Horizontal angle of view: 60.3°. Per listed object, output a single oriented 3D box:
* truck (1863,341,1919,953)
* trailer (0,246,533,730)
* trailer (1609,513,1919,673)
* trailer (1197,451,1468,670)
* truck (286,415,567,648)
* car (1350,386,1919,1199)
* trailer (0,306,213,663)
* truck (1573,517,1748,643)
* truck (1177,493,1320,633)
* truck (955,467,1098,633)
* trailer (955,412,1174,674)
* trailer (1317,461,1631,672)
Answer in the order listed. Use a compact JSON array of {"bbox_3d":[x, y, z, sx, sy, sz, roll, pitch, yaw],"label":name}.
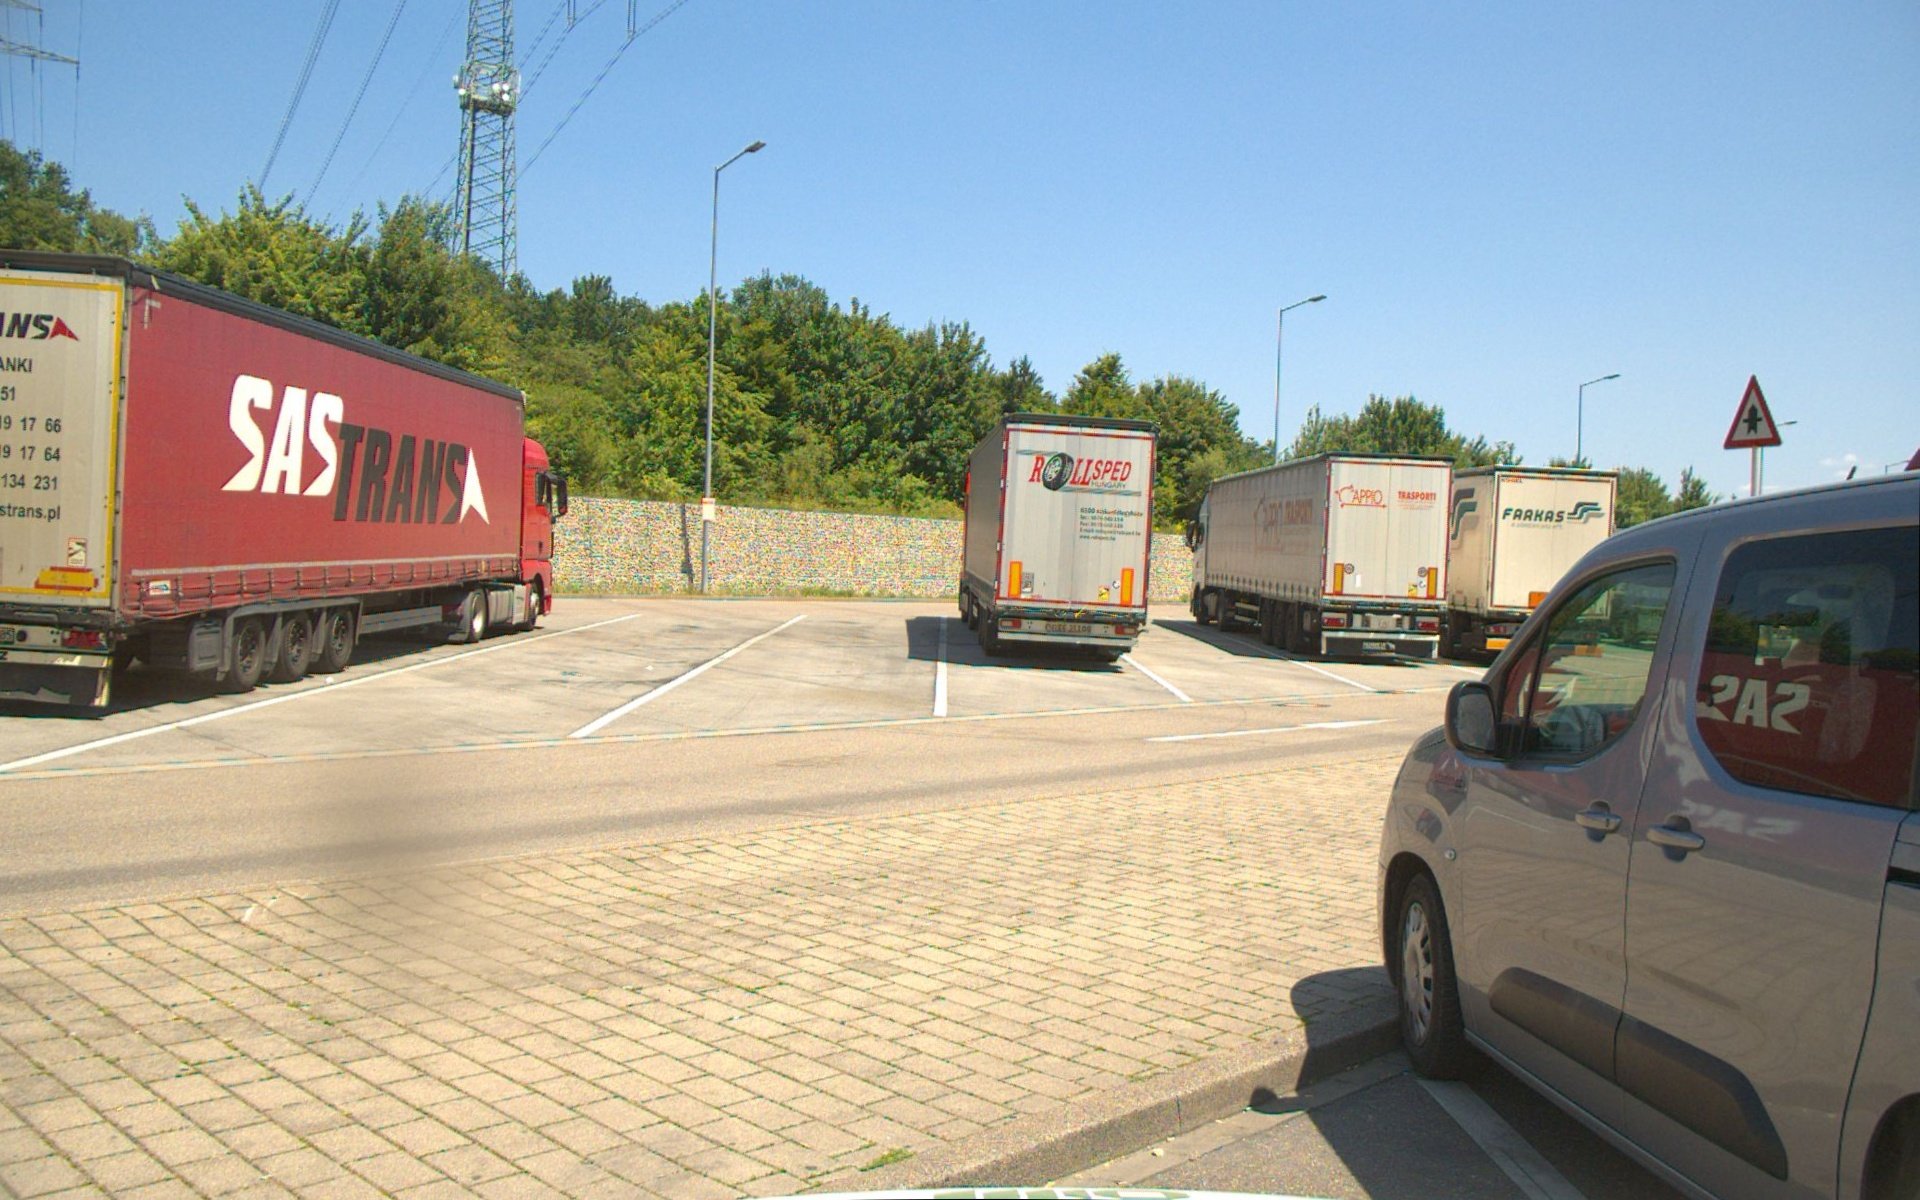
[{"bbox_3d":[4.998,0.197,4.997,1.937,2.668,5.307,1,0,4],"label":"truck"},{"bbox_3d":[-8.728,-1.291,21.454,2.735,4.155,14.131,3,2,-1],"label":"trailer"},{"bbox_3d":[21.844,-0.406,44.522,2.754,3.568,14.395,3,2,-1],"label":"trailer"},{"bbox_3d":[8.170,-1.039,38.868,2.754,4.058,14.395,3,2,-1],"label":"trailer"},{"bbox_3d":[-8.793,-1.152,28.025,2.793,3.385,5.900,3,2,-1],"label":"truck"},{"bbox_3d":[2.436,0.601,3.874,1.832,1.896,4.174,3,1,-2],"label":"car"},{"bbox_3d":[-12.555,-1.335,17.732,2.739,4.155,14.131,3,2,-1],"label":"trailer"},{"bbox_3d":[21.767,-0.712,51.752,2.746,3.582,5.900,3,2,-1],"label":"truck"},{"bbox_3d":[8.054,-1.104,46.967,2.804,3.582,5.900,3,2,-1],"label":"truck"},{"bbox_3d":[1.501,-1.247,40.550,3.041,3.628,5.900,3,2,-1],"label":"truck"},{"bbox_3d":[1.657,-1.200,33.659,3.070,4.058,14.393,3,2,-1],"label":"trailer"},{"bbox_3d":[11.733,-0.946,39.972,2.754,4.058,14.395,3,2,-1],"label":"trailer"}]
